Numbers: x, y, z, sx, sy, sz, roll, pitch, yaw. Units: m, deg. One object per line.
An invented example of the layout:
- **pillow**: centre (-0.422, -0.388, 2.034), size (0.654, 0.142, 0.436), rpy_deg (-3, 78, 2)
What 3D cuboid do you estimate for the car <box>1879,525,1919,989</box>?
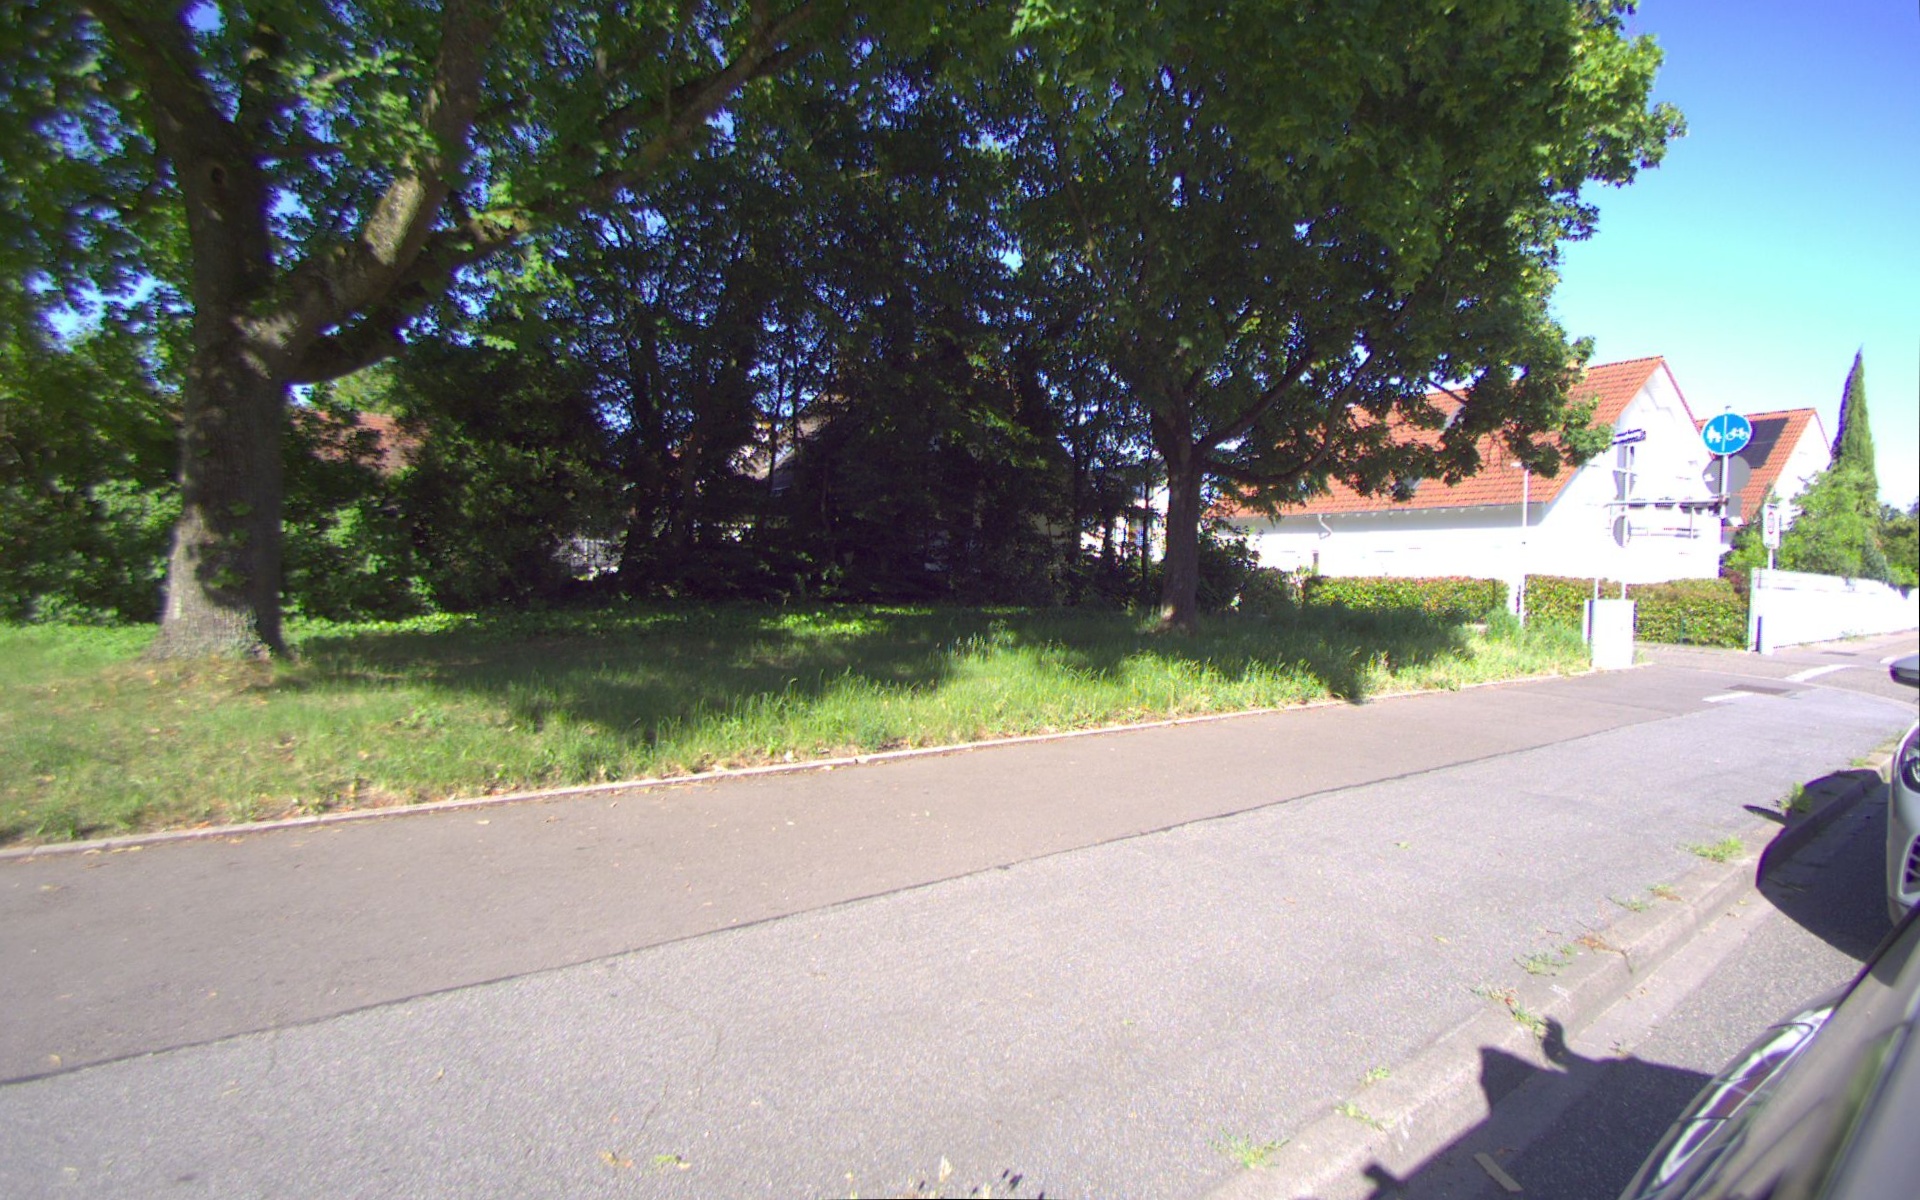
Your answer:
- **car**: centre (5.638, 0.599, 4.440), size (4.133, 1.710, 1.857), rpy_deg (0, 3, -41)
